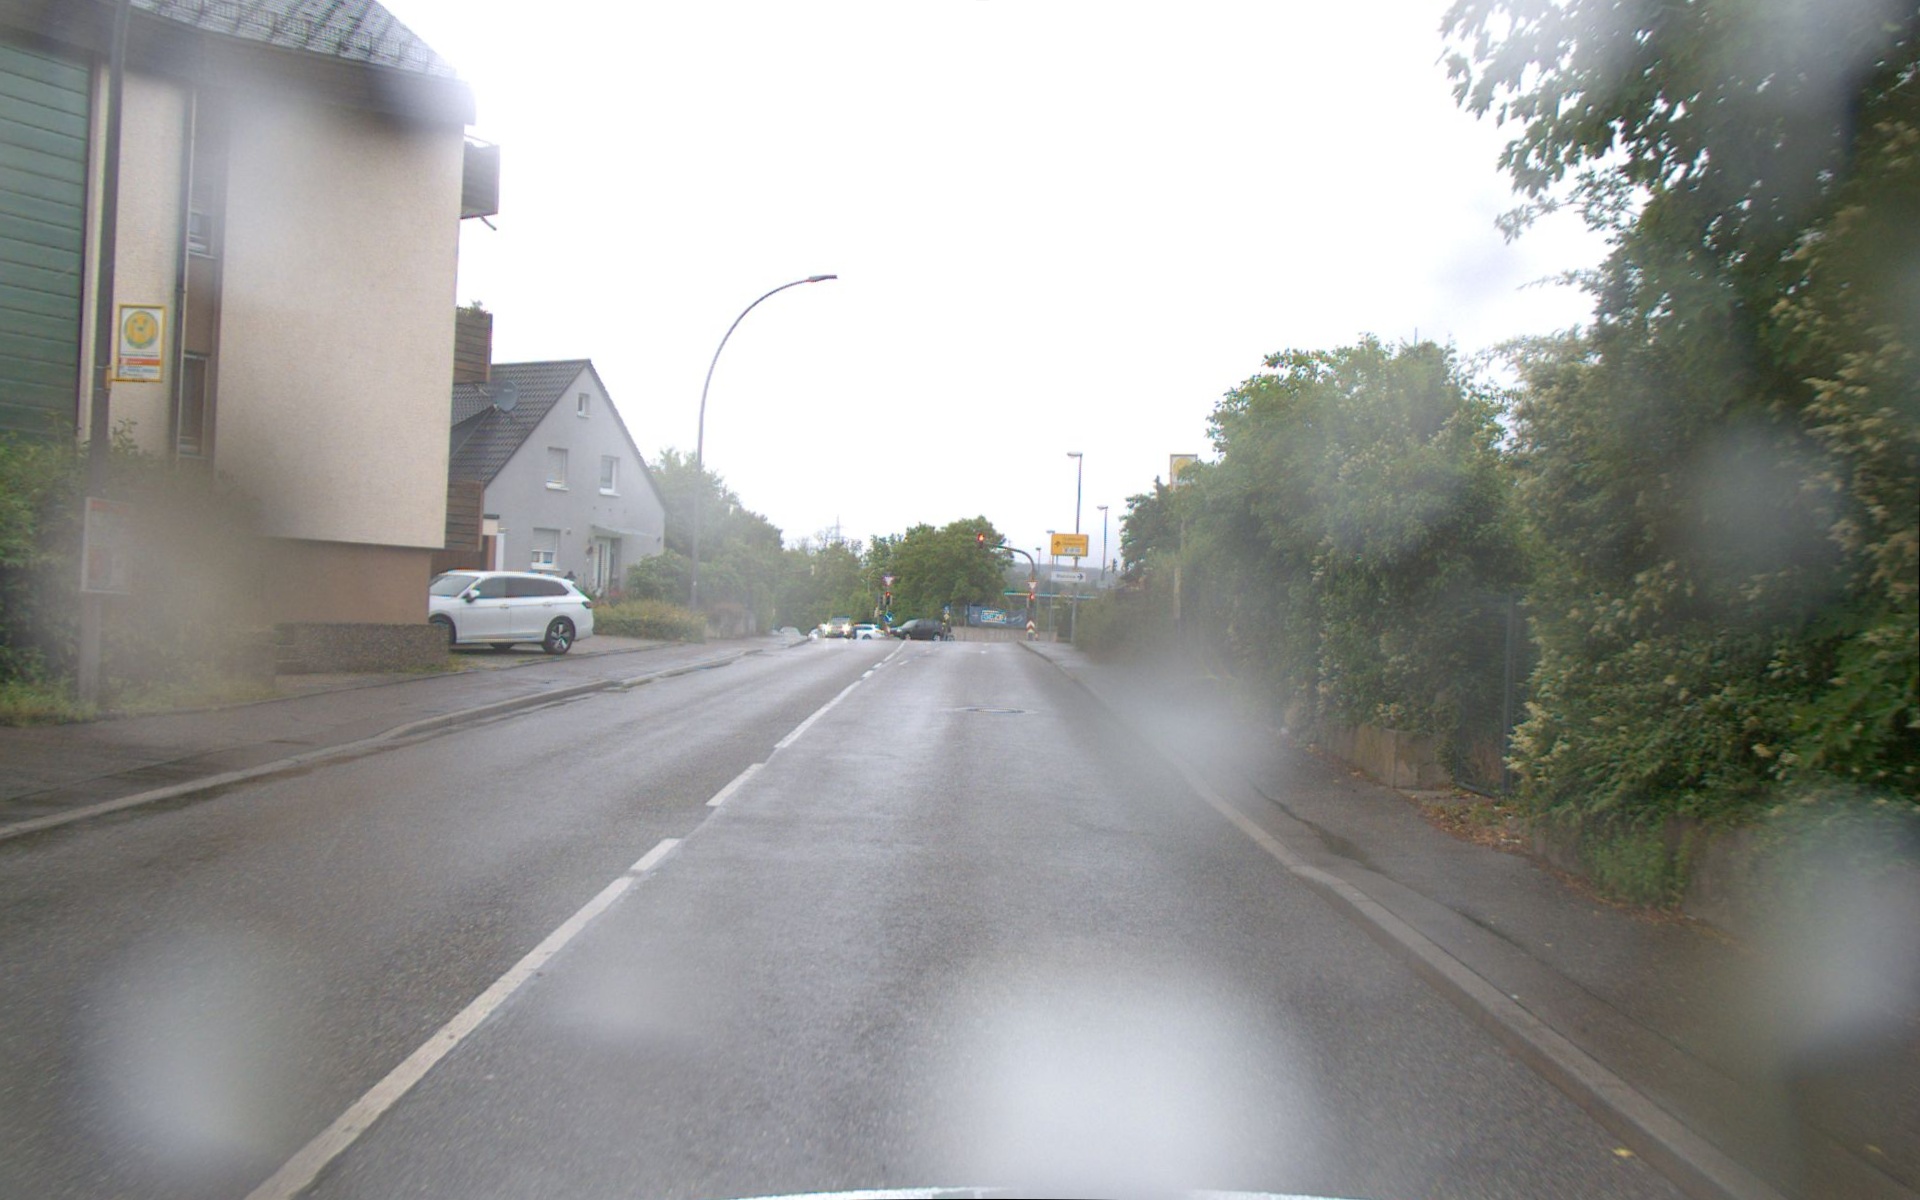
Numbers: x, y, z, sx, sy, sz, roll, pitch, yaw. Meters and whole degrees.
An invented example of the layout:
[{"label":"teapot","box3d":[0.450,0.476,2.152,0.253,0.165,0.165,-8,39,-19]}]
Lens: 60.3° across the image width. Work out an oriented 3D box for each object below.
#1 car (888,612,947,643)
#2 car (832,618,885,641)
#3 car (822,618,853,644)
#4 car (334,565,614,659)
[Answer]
[{"label":"car","box3d":[-3.052,1.951,118.515,3.921,2.049,1.770,2,0,-15]},{"label":"car","box3d":[-8.158,2.343,132.630,3.902,1.646,1.946,1,2,10]},{"label":"car","box3d":[-7.973,2.023,107.782,1.768,1.550,3.999,2,0,-1]},{"label":"car","box3d":[-8.839,0.226,30.518,1.868,1.502,4.867,4,1,33]}]
